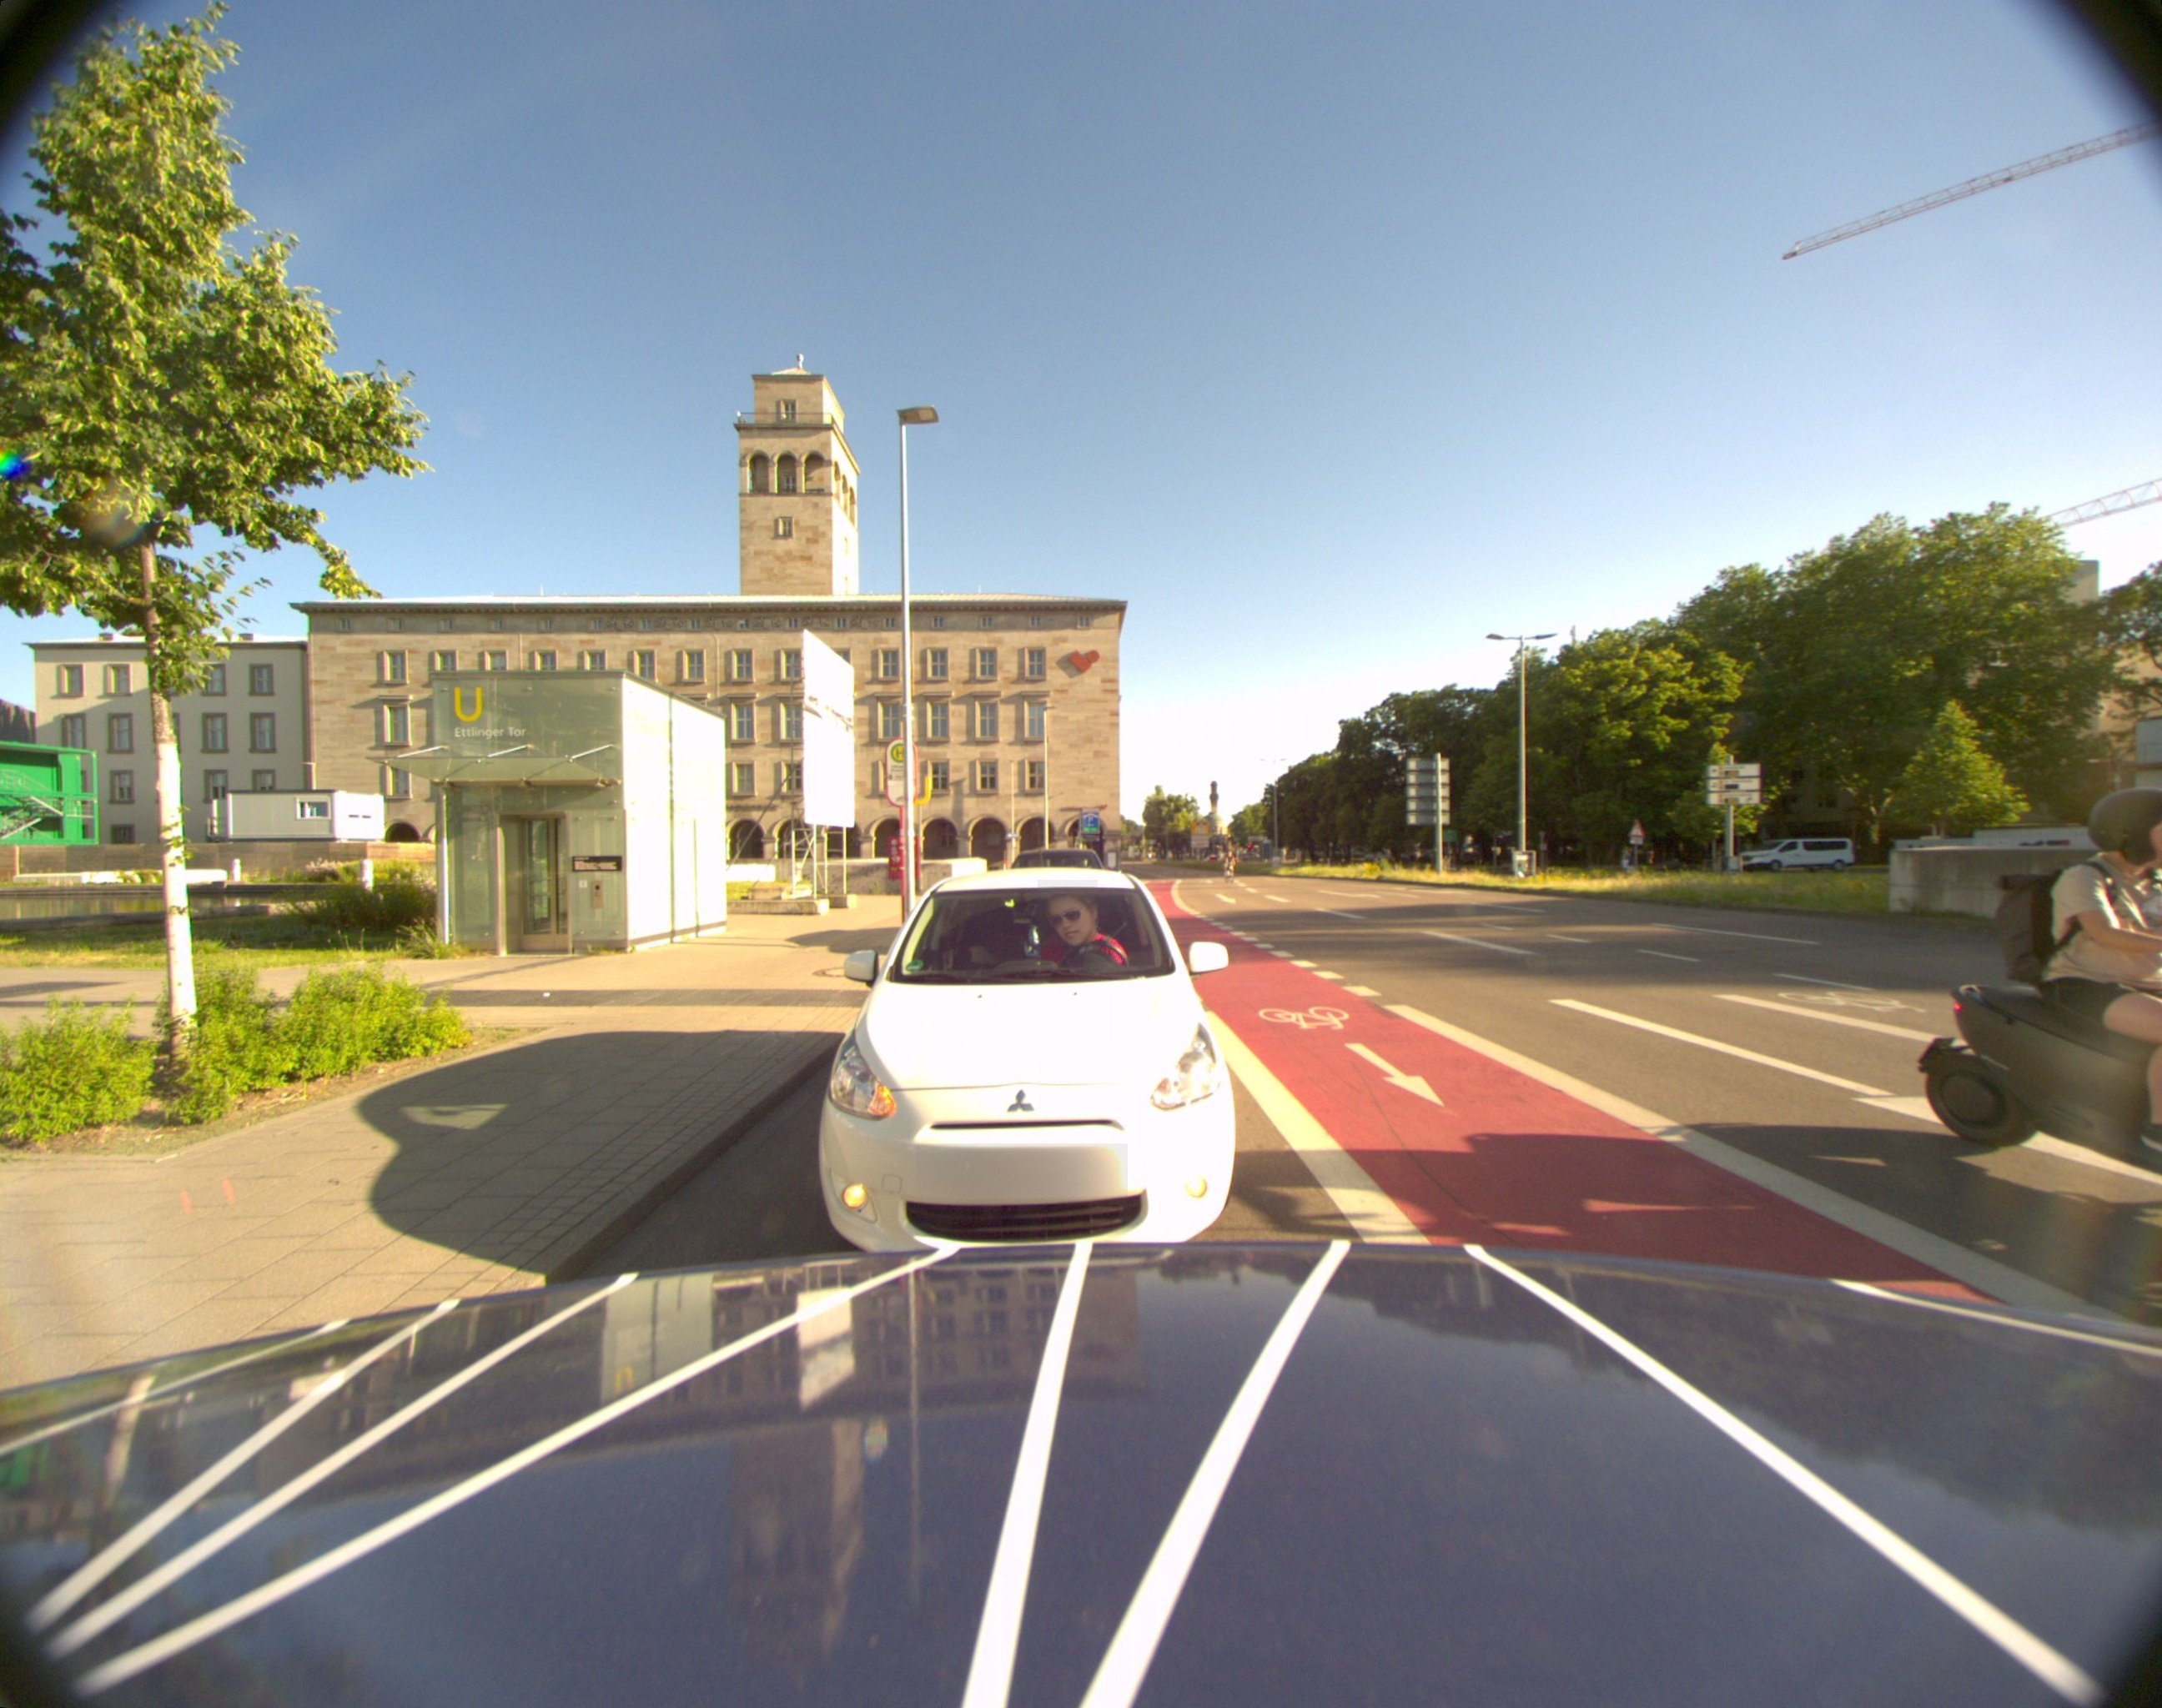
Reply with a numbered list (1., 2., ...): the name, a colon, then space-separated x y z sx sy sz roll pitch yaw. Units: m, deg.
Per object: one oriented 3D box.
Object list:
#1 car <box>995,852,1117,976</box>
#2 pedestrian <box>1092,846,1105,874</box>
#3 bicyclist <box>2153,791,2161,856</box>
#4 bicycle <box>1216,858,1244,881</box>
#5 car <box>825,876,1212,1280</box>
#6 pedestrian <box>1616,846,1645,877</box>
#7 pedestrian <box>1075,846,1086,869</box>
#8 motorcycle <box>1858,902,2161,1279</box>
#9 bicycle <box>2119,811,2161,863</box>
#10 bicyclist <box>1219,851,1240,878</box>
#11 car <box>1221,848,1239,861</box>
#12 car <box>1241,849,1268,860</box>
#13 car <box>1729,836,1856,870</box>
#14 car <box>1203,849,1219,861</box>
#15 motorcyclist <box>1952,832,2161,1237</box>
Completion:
1. car: -0.365 0.837 12.527 1.642 1.653 3.849 -2 0 -1
2. pedestrian: 1.585 0.561 69.326 1.122 2.524 1.055 -2 1 1
3. bicyclist: 24.097 -0.687 16.545 0.497 1.429 0.713 -2 1 -1
4. bicycle: 7.610 0.778 38.887 0.854 1.109 2.808 -2 0 1
5. car: -0.226 0.952 4.847 1.496 1.477 3.604 -2 0 1
6. pedestrian: 33.388 0.425 46.142 0.989 1.821 1.019 -2 1 -1
7. pedestrian: -0.052 0.415 87.620 1.122 2.524 1.055 -2 1 1
8. motorcycle: 4.291 0.897 2.893 0.724 1.286 1.884 -2 0 1
9. bicycle: 24.100 -0.377 16.634 0.497 1.148 1.650 -2 1 -1
10. bicyclist: 7.576 0.526 38.811 0.854 1.340 0.829 -2 1 1
11. car: 21.611 0.102 110.266 1.819 1.817 3.999 -2 1 1
12. car: 31.910 0.135 139.813 4.580 1.827 1.878 -2 1 6
13. car: 42.145 -0.064 45.114 5.516 1.924 2.065 -1 1 2
14. car: 20.605 0.099 120.446 1.747 1.778 3.947 -2 1 1
15. motorcyclist: 4.283 0.652 2.946 0.727 1.466 0.917 -2 0 1
